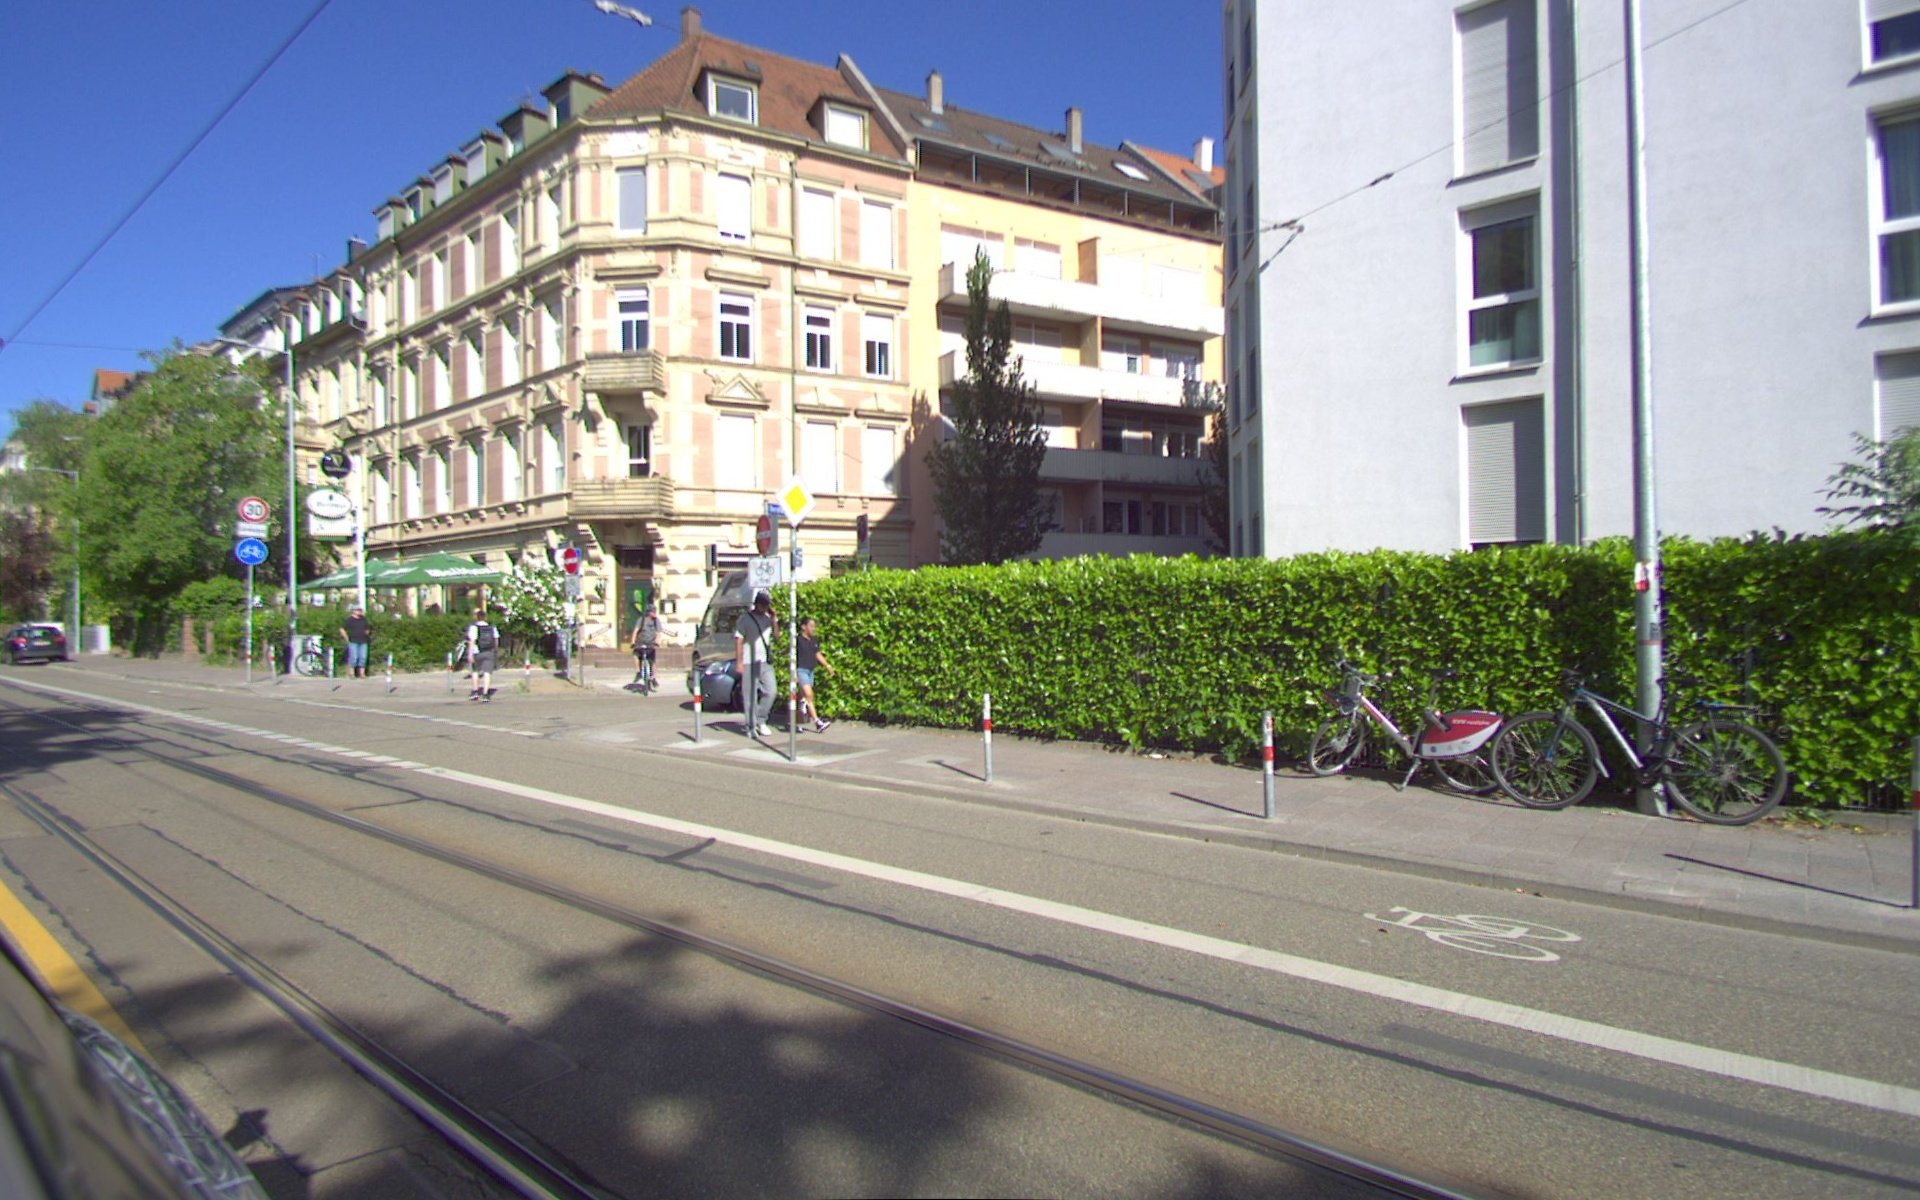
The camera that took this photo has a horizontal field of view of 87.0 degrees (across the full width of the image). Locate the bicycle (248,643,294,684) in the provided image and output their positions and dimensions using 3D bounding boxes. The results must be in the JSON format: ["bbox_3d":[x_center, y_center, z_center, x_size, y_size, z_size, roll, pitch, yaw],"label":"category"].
[{"bbox_3d":[-19.065,1.737,27.999,2.222,1.046,0.508,-2,-1,41],"label":"bicycle"}]

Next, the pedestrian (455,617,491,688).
[{"bbox_3d":[-11.784,1.244,24.502,0.695,1.667,0.835,0,0,-18],"label":"pedestrian"}]

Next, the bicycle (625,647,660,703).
[{"bbox_3d":[-6.843,1.584,21.852,0.695,1.063,1.841,0,0,-17],"label":"bicycle"}]

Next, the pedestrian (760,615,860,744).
[{"bbox_3d":[-1.862,0.956,12.549,0.956,1.489,0.747,-2,0,41],"label":"pedestrian"}]

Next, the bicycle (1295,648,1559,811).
[{"bbox_3d":[3.782,0.995,8.296,1.839,1.097,0.654,-1,2,41],"label":"bicycle"}]

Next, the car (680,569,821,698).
[{"bbox_3d":[-5.309,0.747,25.151,1.860,2.862,4.797,0,0,-33],"label":"car"}]

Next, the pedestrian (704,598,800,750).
[{"bbox_3d":[-2.505,0.855,12.193,0.808,1.727,0.747,-2,0,41],"label":"pedestrian"}]

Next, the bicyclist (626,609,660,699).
[{"bbox_3d":[-6.845,1.139,21.863,0.695,1.868,0.989,0,0,-17],"label":"bicyclist"}]

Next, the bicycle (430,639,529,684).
[{"bbox_3d":[-12.661,1.590,26.706,2.212,1.052,0.877,0,0,-40],"label":"bicycle"}]

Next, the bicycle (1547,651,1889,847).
[{"bbox_3d":[5.221,0.961,7.070,1.839,1.097,0.654,-1,2,41],"label":"bicycle"}]

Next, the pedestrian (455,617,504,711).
[{"bbox_3d":[-9.493,1.238,19.983,0.683,1.781,0.868,0,-1,-40],"label":"pedestrian"}]

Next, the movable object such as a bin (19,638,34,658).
[{"bbox_3d":[-55.741,2.858,60.427,0.664,1.184,0.583,-2,-1,36],"label":"movable object such as a bin"}]

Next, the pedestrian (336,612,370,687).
[{"bbox_3d":[-14.795,1.202,24.667,0.538,1.795,0.551,-1,-1,37],"label":"pedestrian"}]

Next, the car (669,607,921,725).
[{"bbox_3d":[-2.859,1.053,17.699,3.984,1.820,1.797,0,0,-29],"label":"car"}]

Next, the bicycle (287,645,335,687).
[{"bbox_3d":[-16.252,1.642,25.339,1.776,0.988,0.522,-2,-1,41],"label":"bicycle"}]

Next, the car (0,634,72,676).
[{"bbox_3d":[-37.158,2.166,40.441,4.585,1.588,1.845,-2,-3,41],"label":"car"}]
